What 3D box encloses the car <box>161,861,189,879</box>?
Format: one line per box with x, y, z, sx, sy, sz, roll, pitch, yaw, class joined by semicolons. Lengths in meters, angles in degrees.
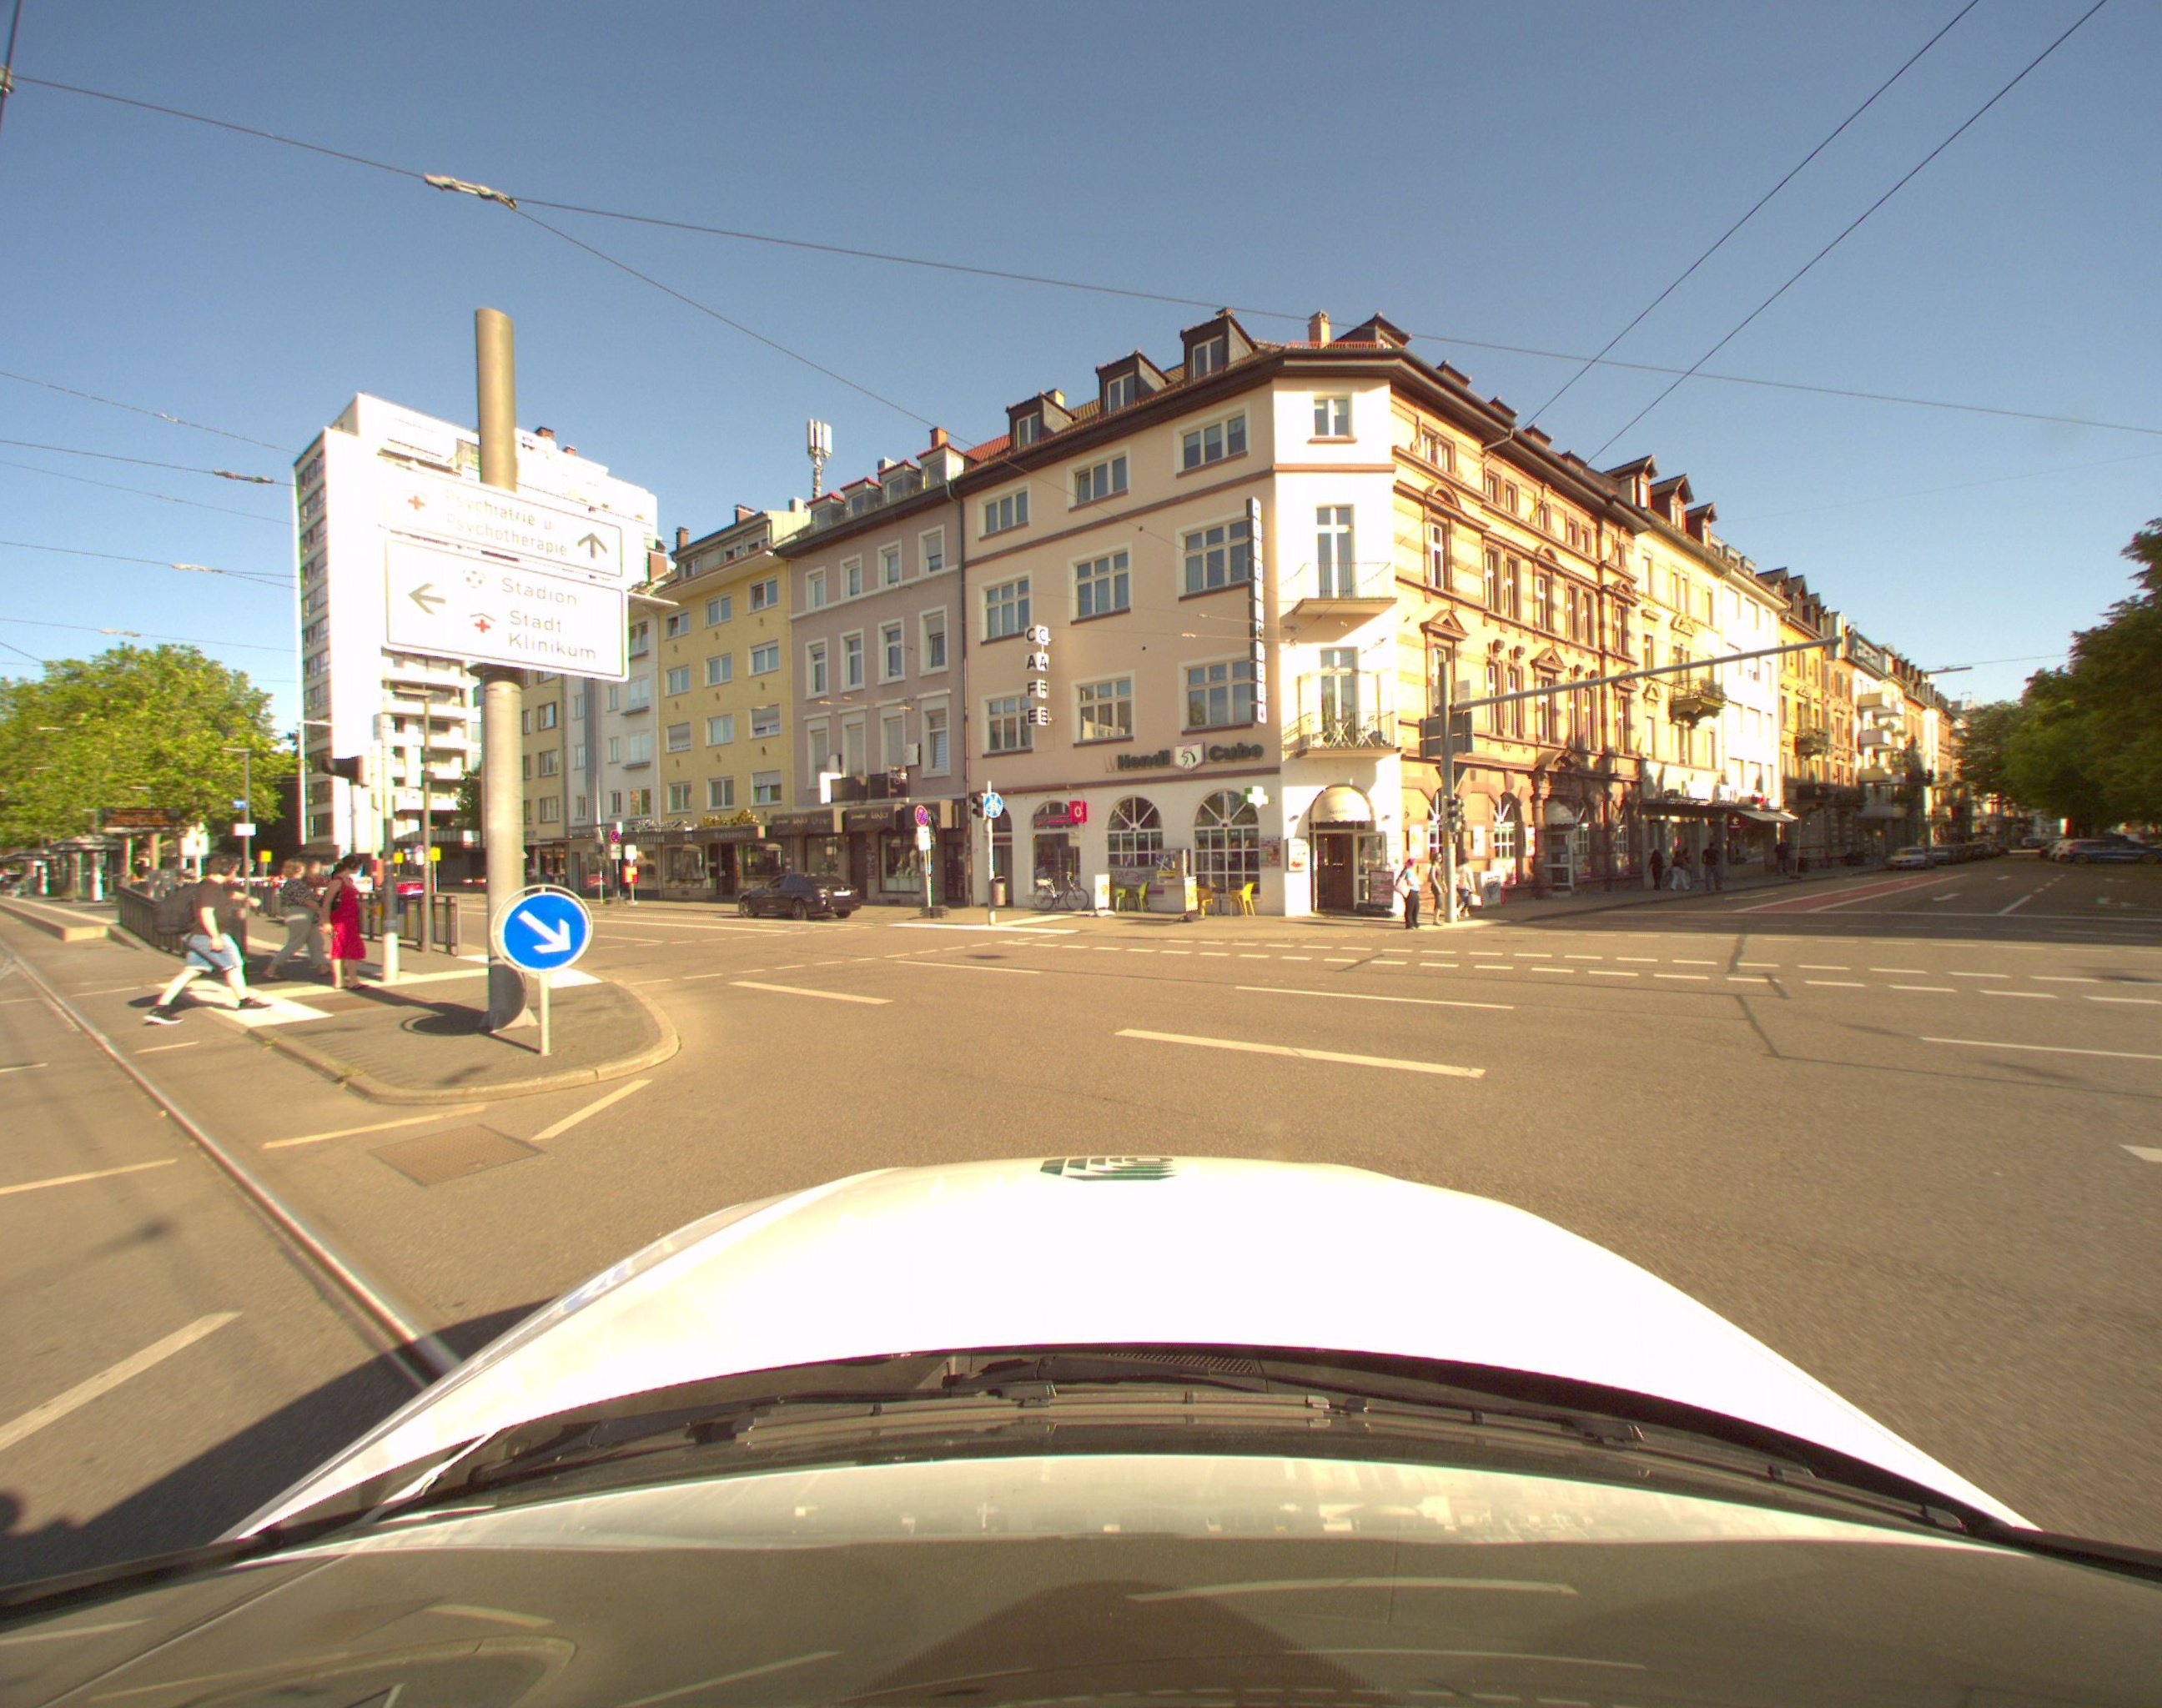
-102.015;1.807;91.719;3.949;2.013;2.012;-1;0;41;car

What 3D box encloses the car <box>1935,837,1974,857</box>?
71.091;-0.610;66.257;4.055;1.497;1.976;-2;1;-40;car

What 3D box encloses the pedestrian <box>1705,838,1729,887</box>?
24.543;0.315;31.439;0.636;1.836;0.575;-2;0;-39;pedestrian

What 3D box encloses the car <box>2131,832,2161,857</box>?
67.803;-0.600;49.864;2.003;1.545;3.969;-2;0;-23;car

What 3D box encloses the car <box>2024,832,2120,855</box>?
70.410;-0.733;57.906;2.004;1.545;3.966;-2;0;-26;car

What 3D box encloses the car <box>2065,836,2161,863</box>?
64.850;-0.277;50.886;2.004;1.545;3.966;-2;0;-26;car

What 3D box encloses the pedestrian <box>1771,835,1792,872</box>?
36.671;-0.004;42.631;0.636;1.908;0.676;-2;0;-38;pedestrian

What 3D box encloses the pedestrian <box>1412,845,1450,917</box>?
8.230;0.625;19.145;0.555;1.641;0.625;-2;2;-41;pedestrian

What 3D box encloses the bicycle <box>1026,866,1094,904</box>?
-0.612;0.931;24.498;1.931;1.067;0.585;-2;0;9;bicycle

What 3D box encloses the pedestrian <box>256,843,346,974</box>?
-10.875;0.722;11.356;0.779;1.733;0.828;-1;0;43;pedestrian

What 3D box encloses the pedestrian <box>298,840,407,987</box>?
-9.165;0.700;10.253;0.830;1.733;0.911;-1;0;42;pedestrian

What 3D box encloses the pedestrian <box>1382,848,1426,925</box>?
7.154;0.703;18.028;0.581;1.641;0.669;-2;0;-41;pedestrian

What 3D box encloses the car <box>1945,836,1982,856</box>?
74.996;-0.691;69.216;4.055;1.497;1.976;-2;1;-40;car

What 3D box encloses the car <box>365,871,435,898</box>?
-38.991;1.710;46.592;3.948;1.430;1.954;-1;0;33;car

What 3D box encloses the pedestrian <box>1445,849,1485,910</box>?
9.933;0.648;21.065;0.663;1.524;0.687;-2;0;-41;pedestrian

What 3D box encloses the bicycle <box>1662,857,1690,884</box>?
25.229;0.692;34.516;1.778;1.067;0.491;-2;0;-38;bicycle

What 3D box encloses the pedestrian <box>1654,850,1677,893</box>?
22.733;0.672;31.659;0.541;1.641;0.621;-2;0;-44;pedestrian

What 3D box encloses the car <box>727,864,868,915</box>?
-9.019;1.090;25.790;4.594;1.440;1.755;-1;0;33;car

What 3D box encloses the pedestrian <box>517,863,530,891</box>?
-33.061;1.335;48.310;0.501;1.644;0.474;-1;0;37;pedestrian

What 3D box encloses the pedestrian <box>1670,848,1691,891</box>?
23.051;0.590;31.316;0.540;1.641;0.545;-2;0;-43;pedestrian

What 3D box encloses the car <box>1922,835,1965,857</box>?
63.741;-0.618;60.171;4.055;1.497;1.976;-2;1;-40;car

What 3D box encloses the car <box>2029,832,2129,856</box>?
68.489;-0.685;55.946;2.004;1.545;3.966;-2;0;-26;car

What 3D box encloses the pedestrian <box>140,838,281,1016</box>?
-9.013;0.716;8.451;0.646;1.733;0.806;-1;0;26;pedestrian

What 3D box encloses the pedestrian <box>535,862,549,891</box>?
-29.913;1.246;45.217;0.460;1.562;0.511;-1;0;38;pedestrian

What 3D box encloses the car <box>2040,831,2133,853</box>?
73.907;-0.872;59.938;2.004;1.545;3.966;-2;0;-26;car

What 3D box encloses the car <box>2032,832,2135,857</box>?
66.391;-0.637;54.010;2.004;1.545;3.966;-2;0;-26;car

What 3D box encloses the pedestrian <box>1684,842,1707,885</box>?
23.897;0.353;31.688;0.636;1.641;0.546;-2;0;-39;pedestrian
